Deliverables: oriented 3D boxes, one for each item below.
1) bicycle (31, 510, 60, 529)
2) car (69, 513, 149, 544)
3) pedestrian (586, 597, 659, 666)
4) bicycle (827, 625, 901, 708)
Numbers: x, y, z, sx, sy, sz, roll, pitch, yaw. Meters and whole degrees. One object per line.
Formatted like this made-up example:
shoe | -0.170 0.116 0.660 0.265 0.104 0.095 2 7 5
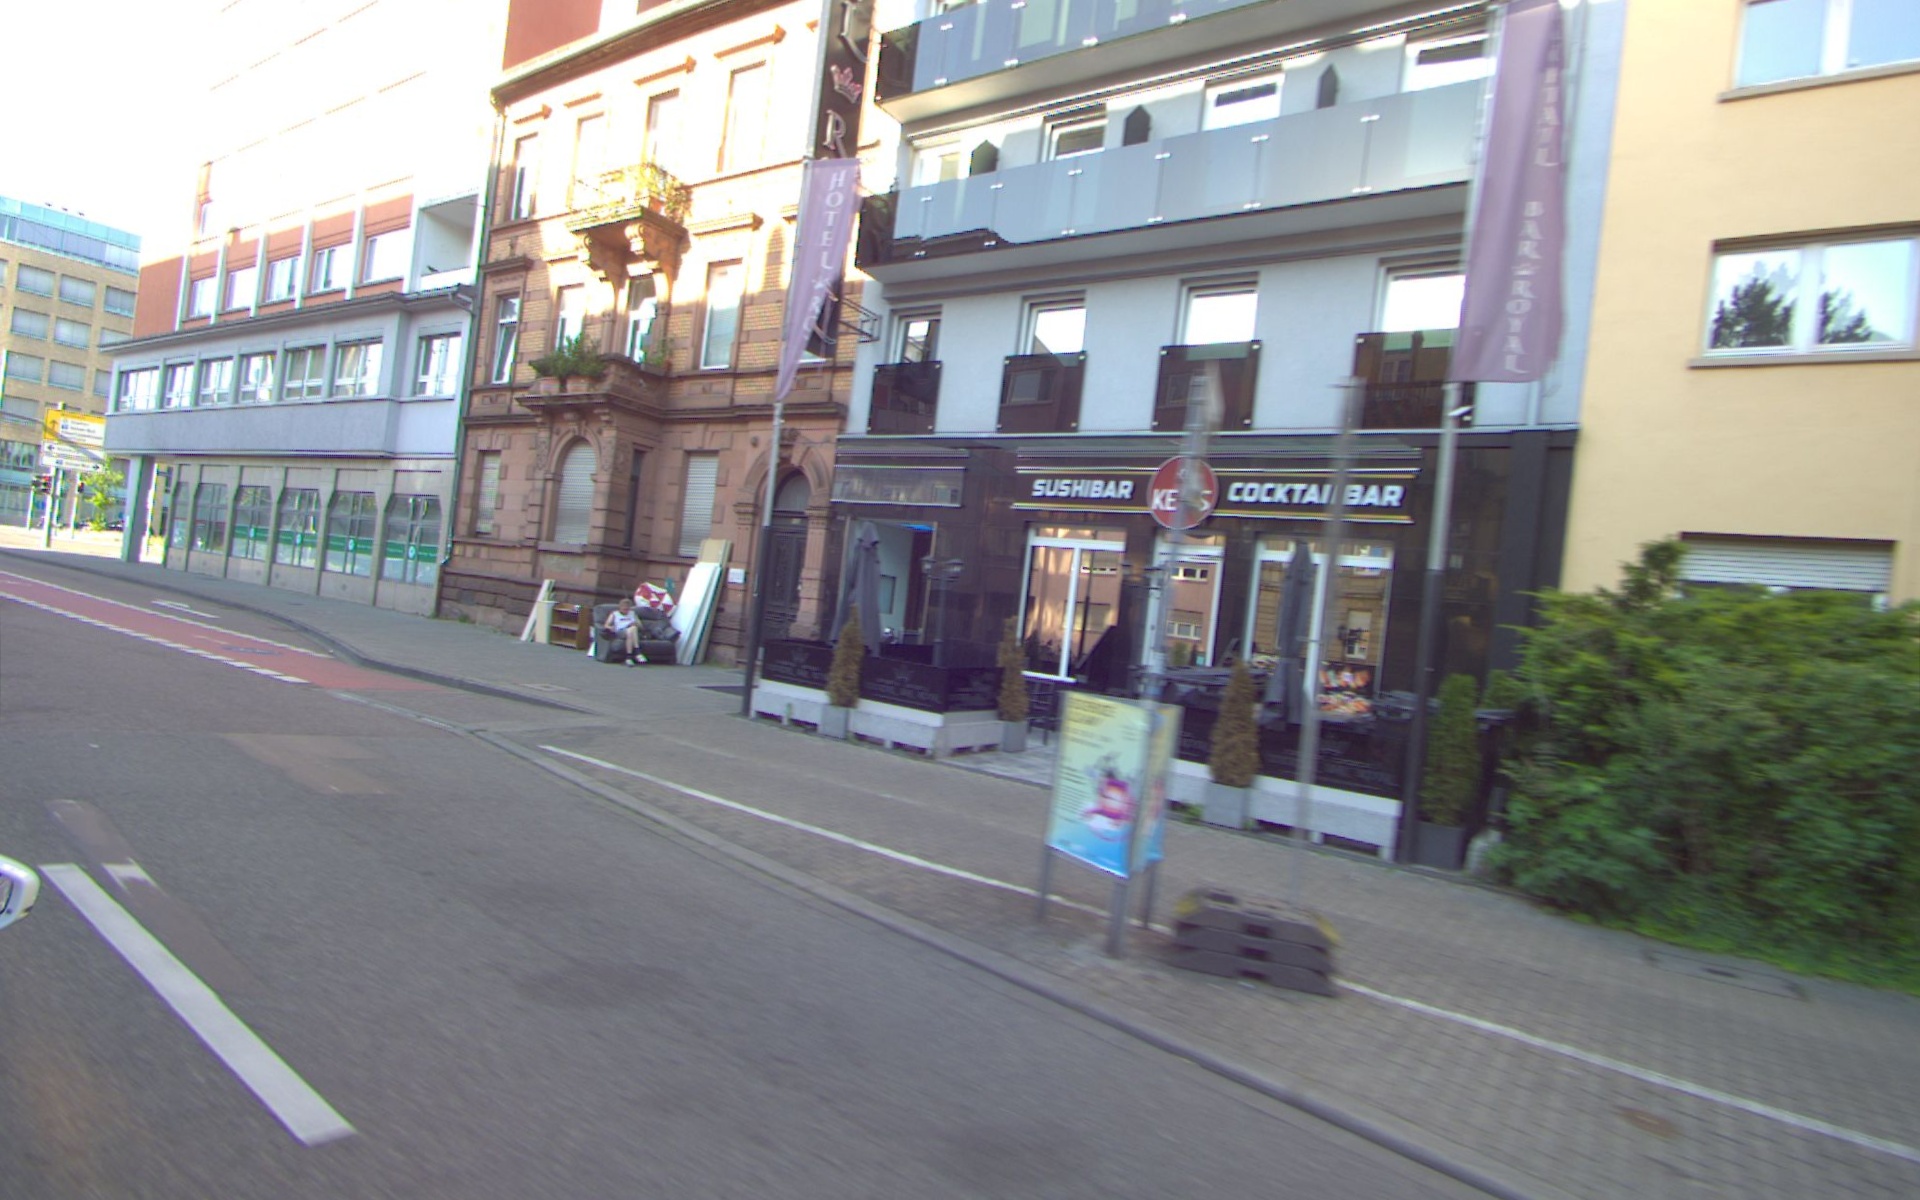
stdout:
bicycle | -70.387 -6.190 77.460 0.468 1.186 1.518 7 -1 41
car | -64.815 -5.423 76.632 1.969 1.633 4.230 6 -2 36
pedestrian | -5.860 0.551 17.464 0.931 1.056 0.691 6 -1 38
bicycle | -1.419 0.967 15.080 0.479 1.125 1.425 7 1 17
